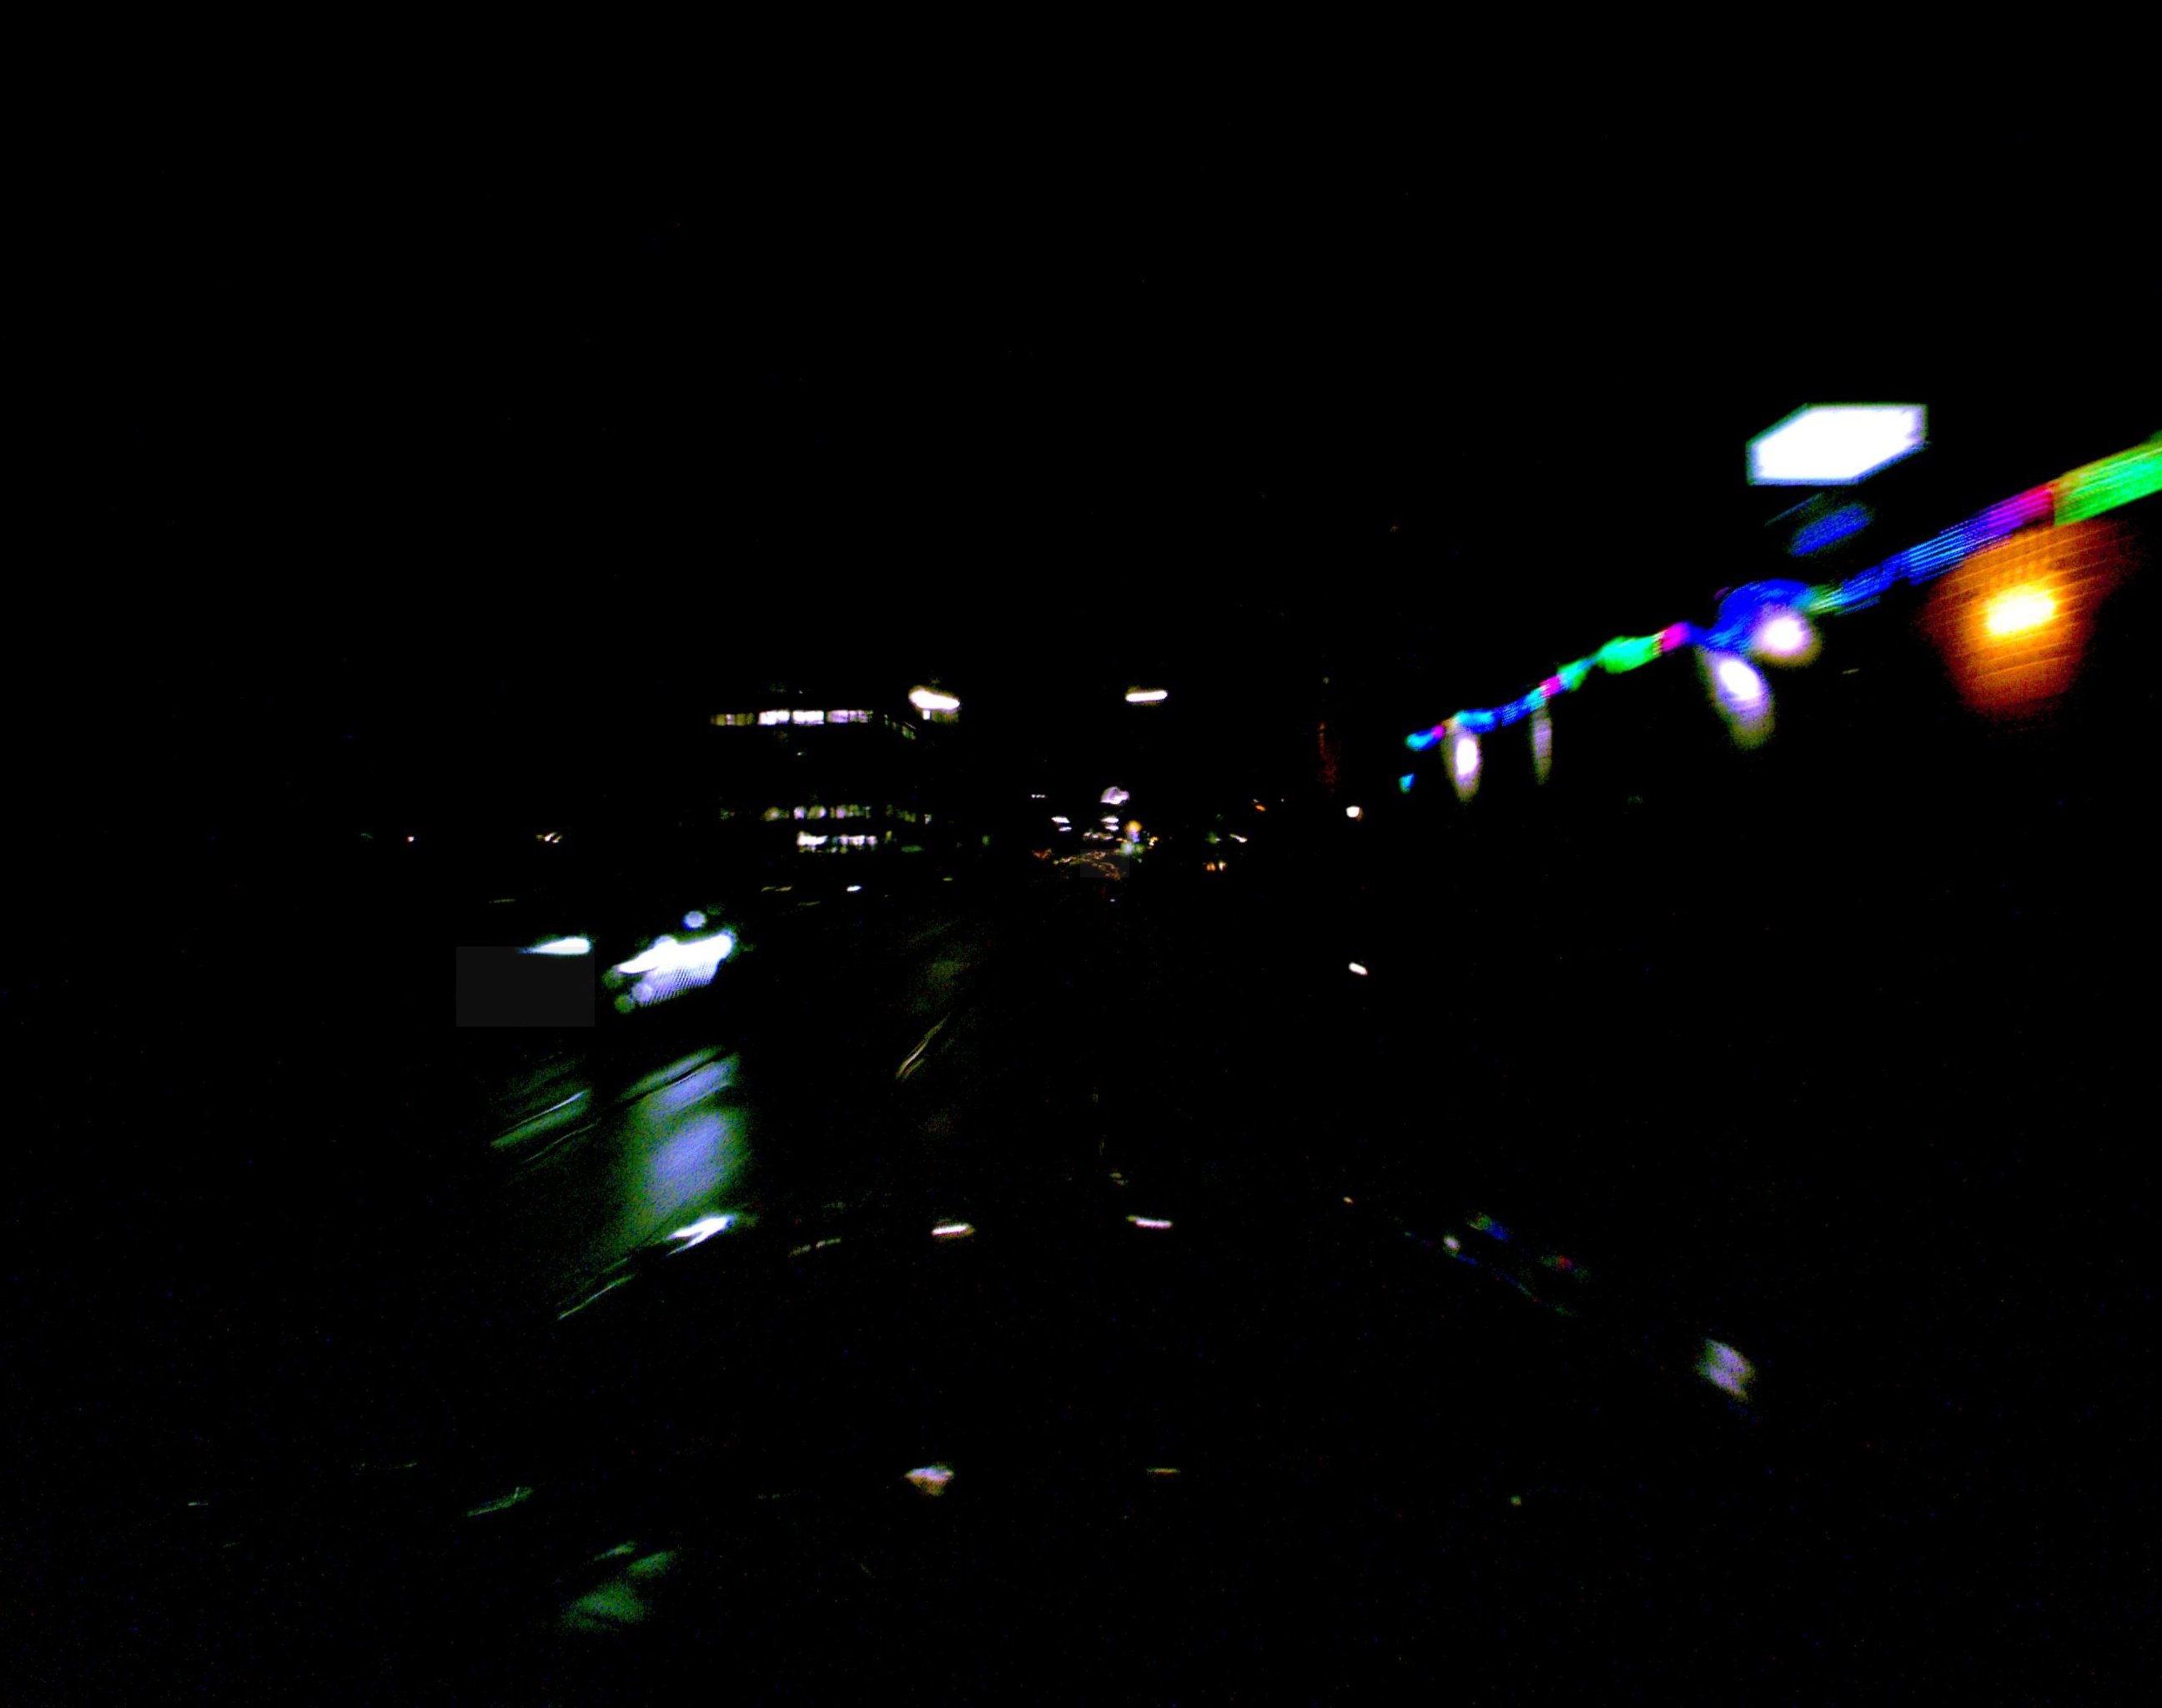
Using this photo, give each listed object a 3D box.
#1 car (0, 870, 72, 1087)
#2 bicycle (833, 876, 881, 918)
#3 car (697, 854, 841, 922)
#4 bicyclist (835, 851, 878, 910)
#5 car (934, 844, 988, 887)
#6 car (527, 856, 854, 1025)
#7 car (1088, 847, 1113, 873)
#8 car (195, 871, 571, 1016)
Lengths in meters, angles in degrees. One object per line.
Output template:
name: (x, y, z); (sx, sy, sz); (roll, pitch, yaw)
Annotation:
car: (-9.185, 0.952, 4.316); (1.976, 1.631, 4.518); (-1, 0, 1)
bicycle: (-6.551, 1.237, 23.904); (0.779, 1.082, 1.919); (-4, 0, 2)
car: (-8.387, 0.849, 22.424); (1.961, 1.655, 4.604); (1, 0, 3)
bicyclist: (-6.580, 0.759, 23.913); (0.779, 1.655, 1.206); (-4, -1, 1)
car: (-7.834, 0.673, 53.786); (2.176, 2.591, 6.398); (-1, 0, 4)
car: (-4.207, 0.810, 9.610); (1.769, 1.517, 4.052); (-1, 0, 2)
car: (1.801, 0.556, 76.331); (2.237, 2.361, 4.393); (-1, 0, 0)
car: (-8.924, 1.028, 10.946); (1.686, 1.421, 3.912); (-2, 0, -2)
